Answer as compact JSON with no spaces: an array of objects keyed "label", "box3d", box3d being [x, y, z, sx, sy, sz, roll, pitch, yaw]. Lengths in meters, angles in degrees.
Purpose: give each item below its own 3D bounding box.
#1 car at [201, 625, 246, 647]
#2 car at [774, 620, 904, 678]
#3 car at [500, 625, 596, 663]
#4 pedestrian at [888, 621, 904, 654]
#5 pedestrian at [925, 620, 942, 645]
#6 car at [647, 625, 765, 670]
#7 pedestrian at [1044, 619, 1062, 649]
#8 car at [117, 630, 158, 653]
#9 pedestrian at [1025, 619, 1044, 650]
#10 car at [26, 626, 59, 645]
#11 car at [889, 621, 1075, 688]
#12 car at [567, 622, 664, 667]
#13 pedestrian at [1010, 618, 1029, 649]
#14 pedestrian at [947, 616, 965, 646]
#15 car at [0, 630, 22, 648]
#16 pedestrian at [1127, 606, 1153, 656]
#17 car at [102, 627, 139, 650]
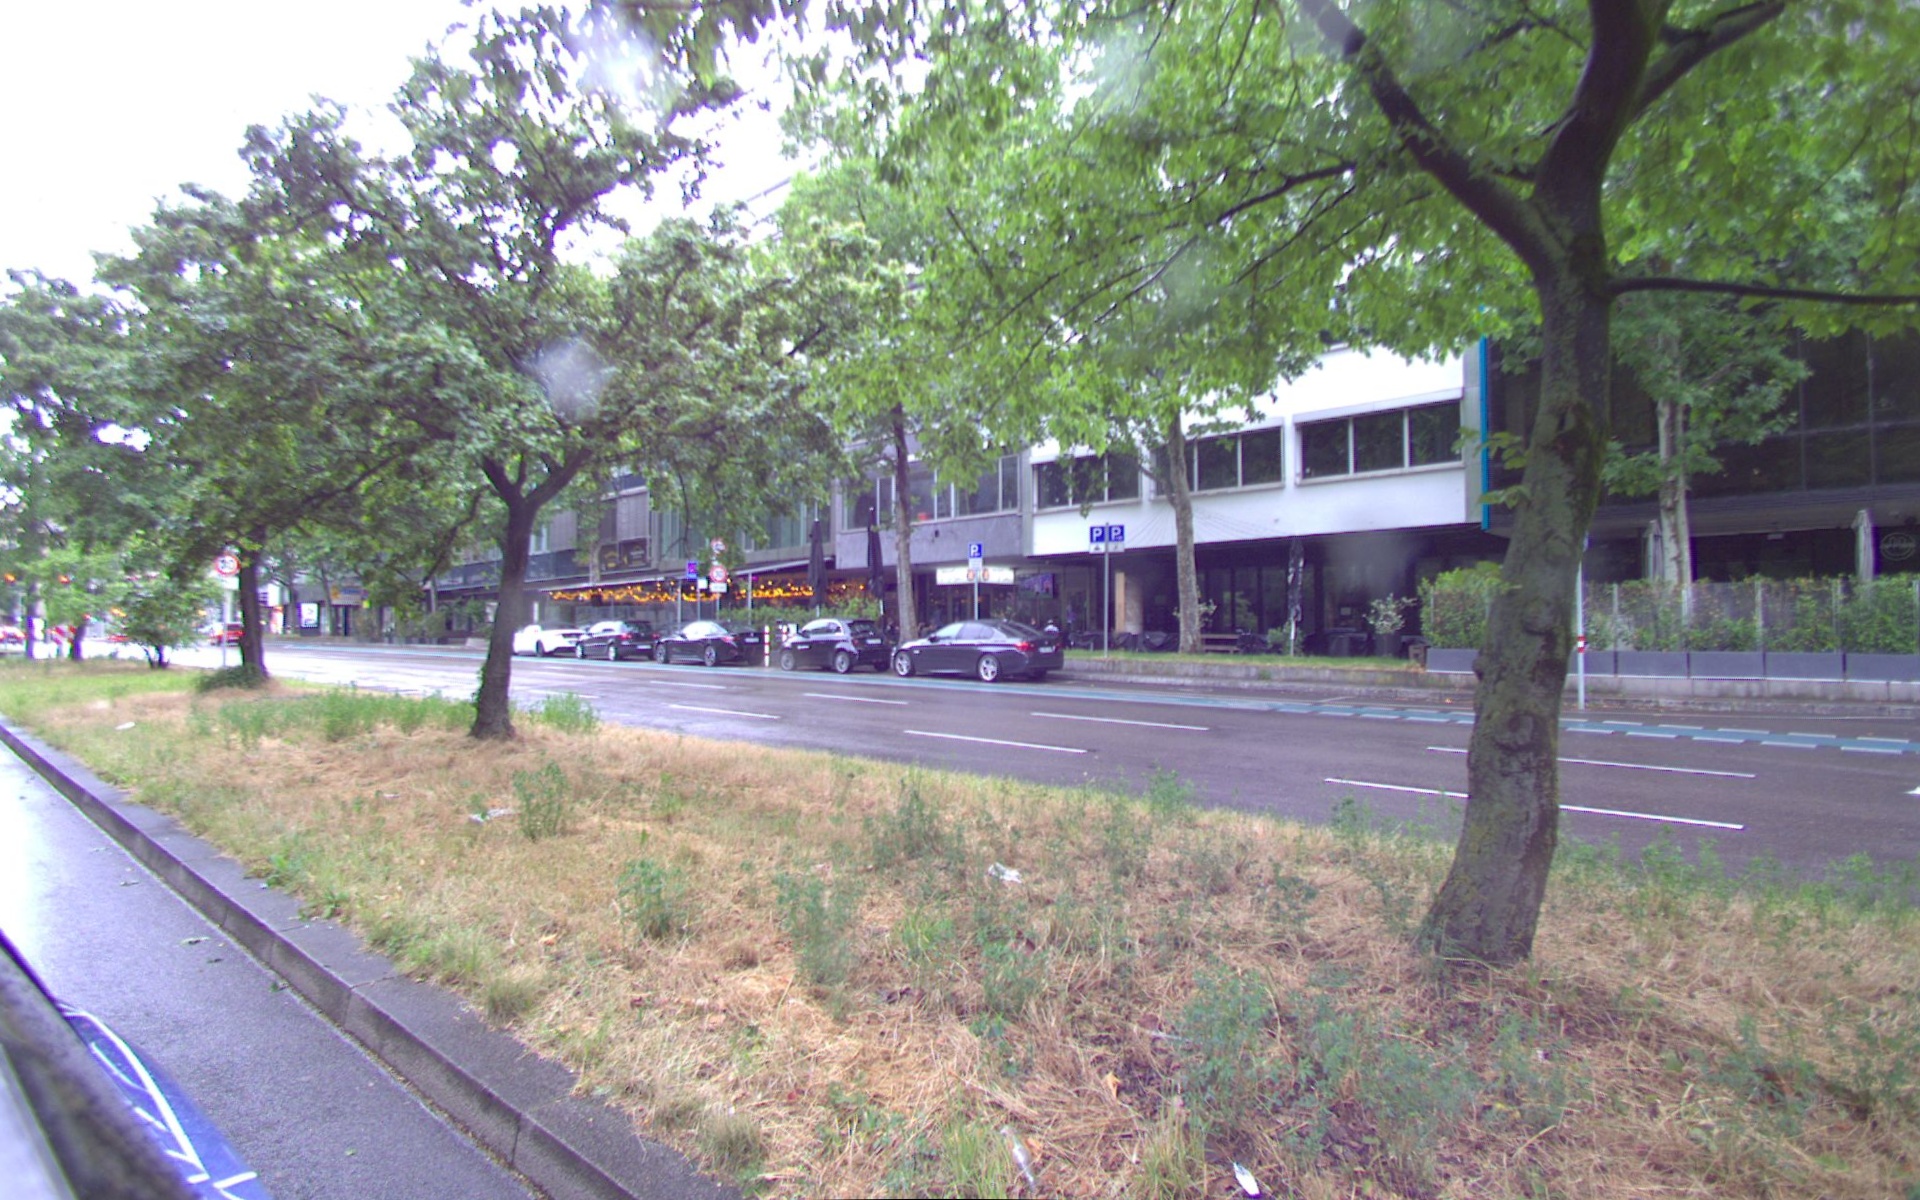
[{"label":"car","box3d":[-49.693,2.418,68.291,3.737,1.335,1.742,0,0,42]},{"label":"car","box3d":[-3.415,1.318,28.288,3.400,1.433,1.851,0,0,42]},{"label":"car","box3d":[-16.495,1.729,40.394,4.392,1.336,1.856,0,0,42]},{"label":"pedestrian","box3d":[-2.366,1.379,37.373,0.463,1.195,0.443,-1,0,18]},{"label":"pedestrian","box3d":[-0.969,1.171,36.450,0.433,0.856,0.435,-1,0,39]},{"label":"car","box3d":[-8.179,1.472,32.387,4.319,1.249,1.625,0,0,44]},{"label":"pedestrian","box3d":[3.016,1.106,32.911,0.451,0.970,0.454,-1,0,26]},{"label":"car","box3d":[-62.436,3.137,76.804,3.727,1.586,1.758,-1,0,41]},{"label":"pedestrian","box3d":[2.450,1.117,33.162,0.488,1.008,0.481,-1,0,26]},{"label":"car","box3d":[-92.792,3.569,102.326,3.997,1.829,1.973,-1,0,41]},{"label":"car","box3d":[0.454,1.259,24.734,1.849,1.396,4.539,-1,0,-45]},{"label":"car","box3d":[-12.464,1.549,36.521,3.788,1.464,1.727,0,0,42]},{"label":"pedestrian","box3d":[1.970,1.103,33.488,0.461,1.000,0.455,-1,0,26]},{"label":"pedestrian","box3d":[-0.152,1.094,35.382,0.423,1.024,0.459,-1,0,39]},{"label":"car","box3d":[-78.125,3.183,82.706,3.524,1.400,1.657,-1,0,39]},{"label":"pedestrian","box3d":[5.985,1.022,33.661,0.623,1.660,0.598,-1,0,37]},{"label":"car","box3d":[-70.820,3.194,85.382,3.954,1.799,1.913,0,0,42]}]
